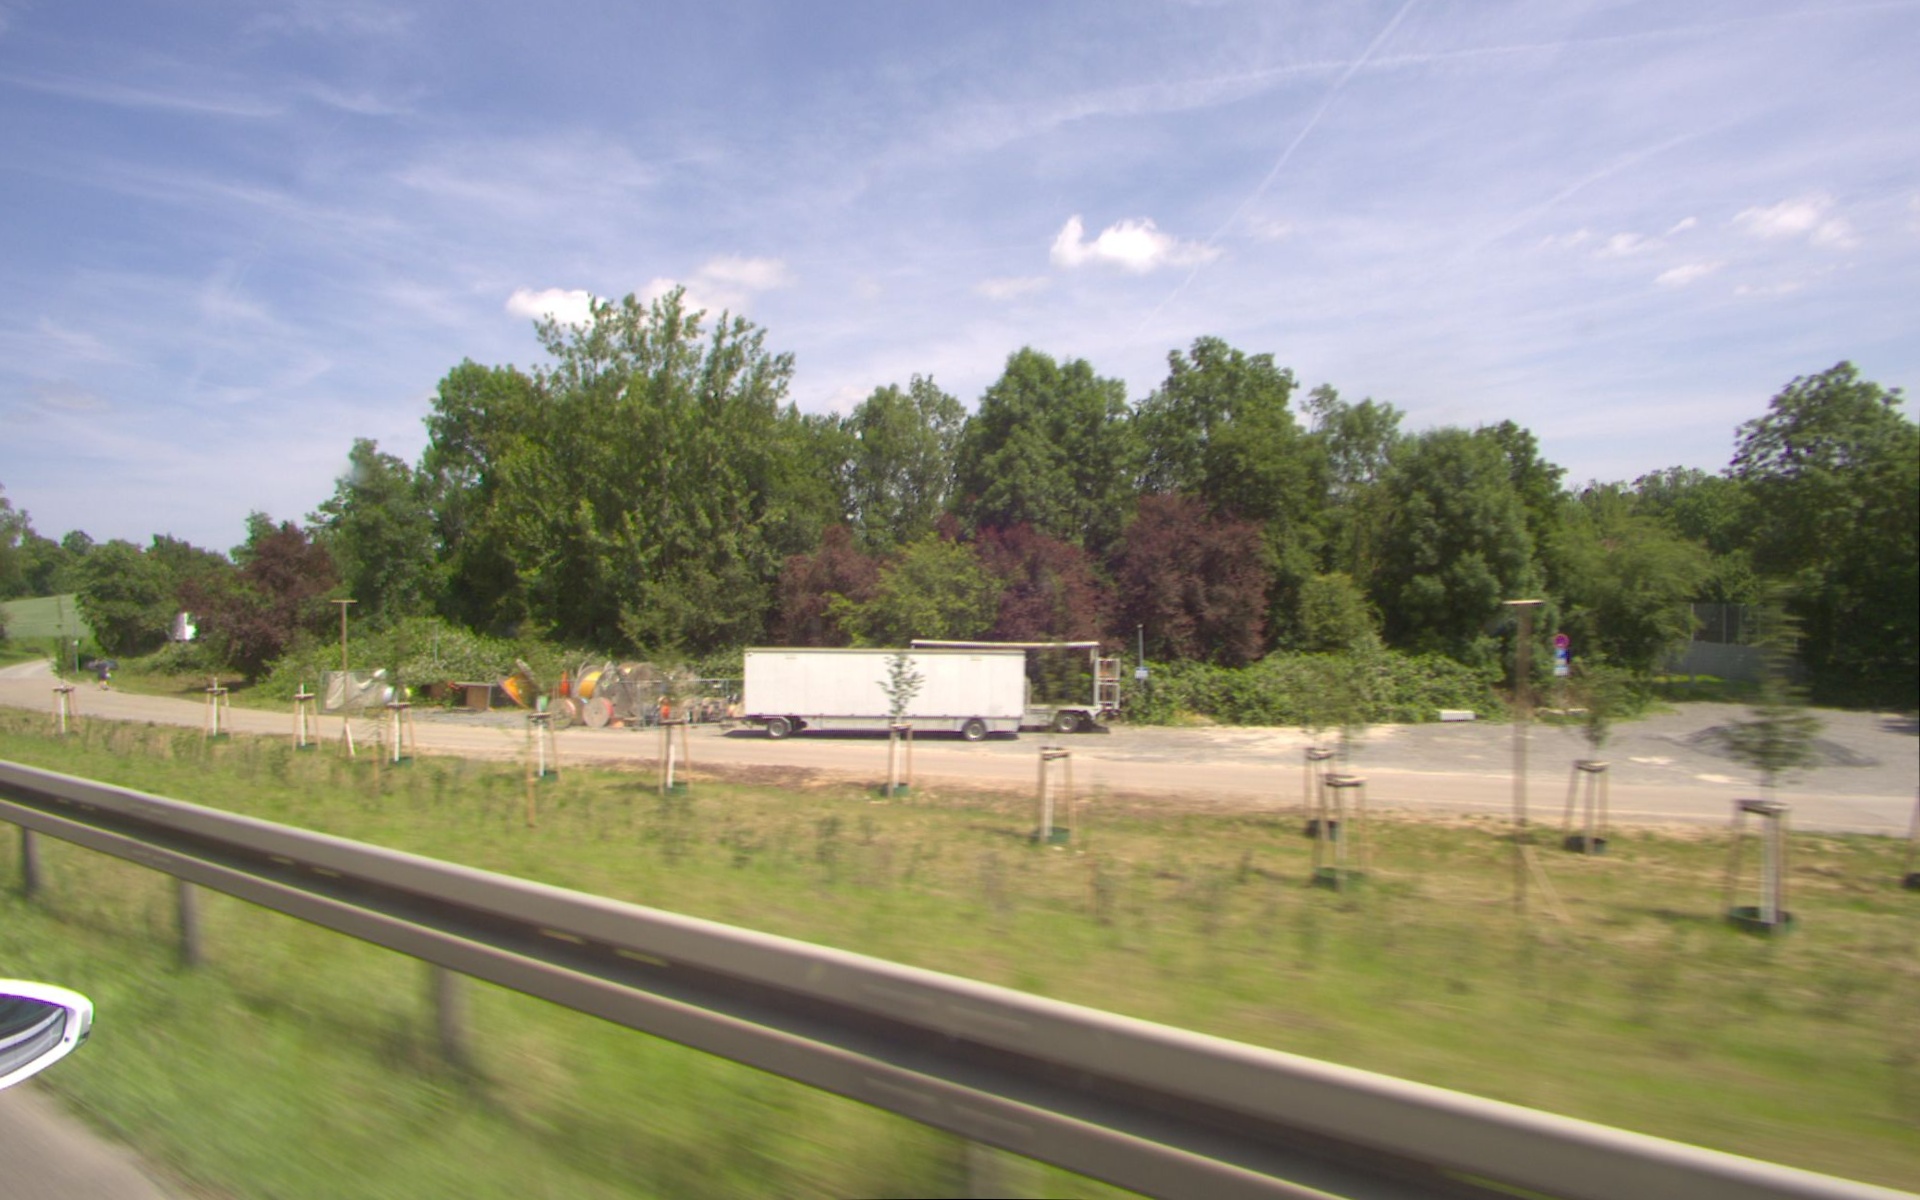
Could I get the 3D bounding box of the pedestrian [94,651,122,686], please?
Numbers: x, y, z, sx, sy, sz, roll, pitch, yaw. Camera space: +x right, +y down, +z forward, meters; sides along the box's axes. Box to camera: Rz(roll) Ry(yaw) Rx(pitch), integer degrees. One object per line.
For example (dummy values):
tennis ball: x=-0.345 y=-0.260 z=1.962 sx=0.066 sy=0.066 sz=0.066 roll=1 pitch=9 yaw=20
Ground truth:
pedestrian: x=-48.285 y=3.866 z=56.727 sx=0.945 sy=1.836 sz=0.882 roll=0 pitch=3 yaw=32

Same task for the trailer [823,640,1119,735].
trailer: x=0.469 y=3.485 z=40.810 sx=11.662 sy=3.652 sz=2.729 roll=0 pitch=-1 yaw=2

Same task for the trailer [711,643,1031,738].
trailer: x=-3.238 y=3.360 z=37.855 sx=11.662 sy=3.371 sz=2.728 roll=0 pitch=-1 yaw=0
